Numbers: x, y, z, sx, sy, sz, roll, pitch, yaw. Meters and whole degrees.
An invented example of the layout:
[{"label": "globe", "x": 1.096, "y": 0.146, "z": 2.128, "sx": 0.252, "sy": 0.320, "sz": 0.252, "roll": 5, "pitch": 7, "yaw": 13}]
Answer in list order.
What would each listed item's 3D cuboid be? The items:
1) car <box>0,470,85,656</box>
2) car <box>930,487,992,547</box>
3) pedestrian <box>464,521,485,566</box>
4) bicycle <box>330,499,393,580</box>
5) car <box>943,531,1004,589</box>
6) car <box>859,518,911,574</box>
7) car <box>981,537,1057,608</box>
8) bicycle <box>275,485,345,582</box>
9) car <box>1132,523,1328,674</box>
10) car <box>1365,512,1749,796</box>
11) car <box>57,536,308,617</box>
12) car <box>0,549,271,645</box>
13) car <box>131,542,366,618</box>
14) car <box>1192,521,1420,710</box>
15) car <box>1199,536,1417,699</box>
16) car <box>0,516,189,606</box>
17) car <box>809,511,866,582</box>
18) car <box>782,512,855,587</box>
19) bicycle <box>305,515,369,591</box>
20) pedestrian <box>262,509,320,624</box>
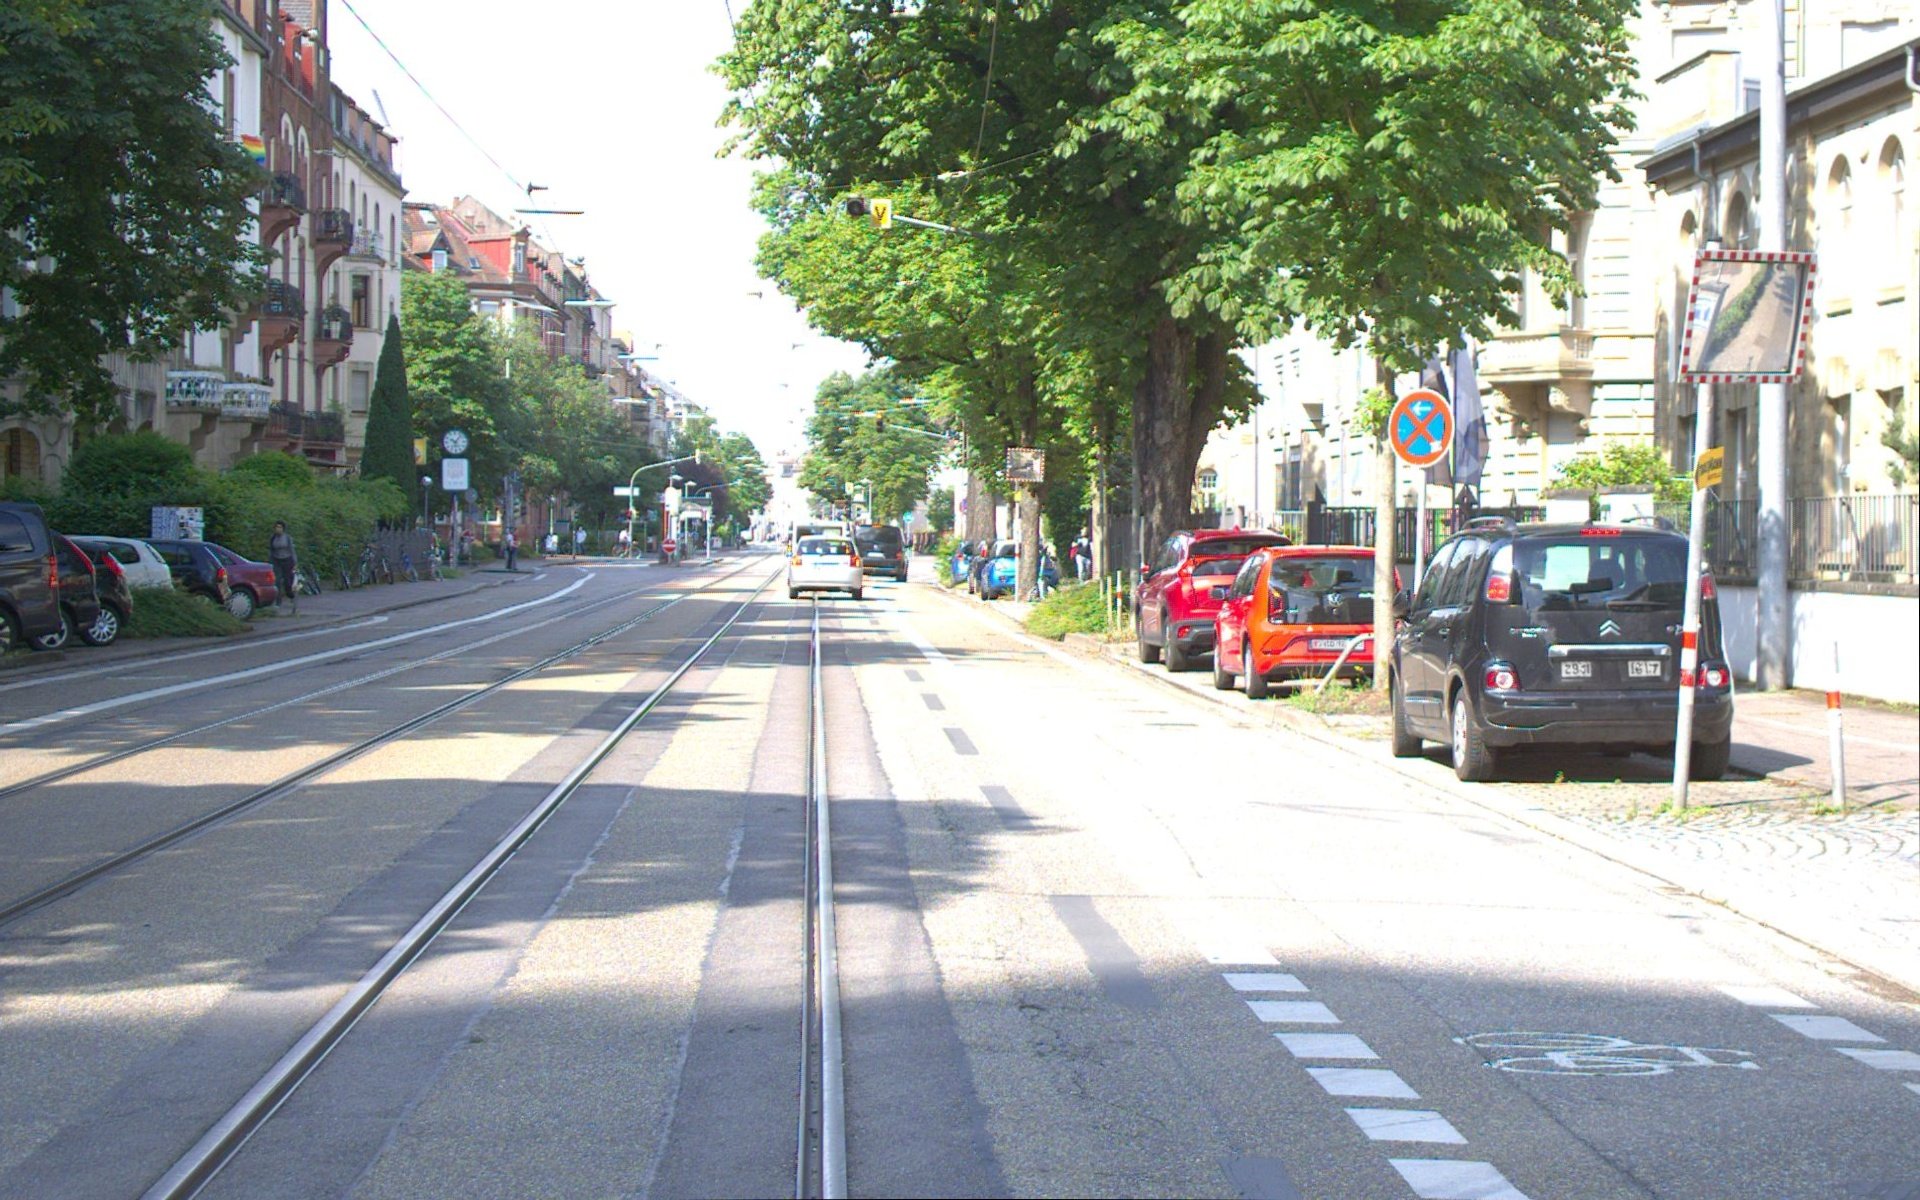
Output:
[{"label": "car", "x": -12.202, "y": -0.514, "z": 38.516, "sx": 1.882, "sy": 2.074, "sz": 4.194, "roll": 4, "pitch": 0, "yaw": 42}, {"label": "car", "x": 0.016, "y": -2.358, "z": 98.227, "sx": 1.621, "sy": 1.678, "sz": 3.565, "roll": 0, "pitch": 1, "yaw": -2}, {"label": "pedestrian", "x": -21.890, "y": -2.547, "z": 155.080, "sx": 0.884, "sy": 2.007, "sz": 0.788, "roll": 0, "pitch": 1, "yaw": -11}, {"label": "bicycle", "x": -14.379, "y": -1.452, "z": 82.718, "sx": 0.938, "sy": 1.912, "sz": 2.498, "roll": 0, "pitch": 1, "yaw": 3}, {"label": "car", "x": 0.386, "y": -1.183, "z": 101.643, "sx": 1.621, "sy": 1.678, "sz": 3.565, "roll": 0, "pitch": 1, "yaw": -2}, {"label": "car", "x": -2.519, "y": -1.792, "z": 114.817, "sx": 1.621, "sy": 1.842, "sz": 3.565, "roll": 0, "pitch": 1, "yaw": -2}, {"label": "car", "x": 1.405, "y": -0.673, "z": 83.494, "sx": 1.621, "sy": 1.678, "sz": 3.565, "roll": 0, "pitch": 1, "yaw": -2}, {"label": "bicycle", "x": -14.236, "y": -1.450, "z": 75.355, "sx": 0.938, "sy": 2.071, "sz": 2.498, "roll": 0, "pitch": 1, "yaw": 3}, {"label": "car", "x": 3.170, "y": -0.044, "z": 41.121, "sx": 1.960, "sy": 1.700, "sz": 4.000, "roll": 0, "pitch": 1, "yaw": -1}, {"label": "car", "x": 3.793, "y": 0.279, "z": 22.400, "sx": 1.674, "sy": 1.606, "sz": 3.585, "roll": -3, "pitch": 2, "yaw": -3}, {"label": "car", "x": -13.026, "y": -0.398, "z": 57.712, "sx": 3.776, "sy": 1.302, "sz": 1.637, "roll": 0, "pitch": 1, "yaw": -41}, {"label": "car", "x": -11.838, "y": -0.060, "z": 48.628, "sx": 3.776, "sy": 1.302, "sz": 1.637, "roll": 0, "pitch": 1, "yaw": -41}, {"label": "car", "x": -12.614, "y": -0.359, "z": 61.054, "sx": 3.776, "sy": 1.302, "sz": 1.637, "roll": 0, "pitch": 1, "yaw": -41}, {"label": "car", "x": 3.369, "y": 0.102, "z": 34.063, "sx": 1.674, "sy": 1.606, "sz": 3.585, "roll": -3, "pitch": 3, "yaw": -2}, {"label": "car", "x": 3.380, "y": 0.138, "z": 33.913, "sx": 1.667, "sy": 1.481, "sz": 3.280, "roll": -2, "pitch": 1, "yaw": -2}, {"label": "car", "x": -13.624, "y": -0.583, "z": 51.404, "sx": 3.776, "sy": 1.302, "sz": 1.637, "roll": 0, "pitch": 1, "yaw": -41}, {"label": "car", "x": -3.569, "y": -1.551, "z": 99.655, "sx": 1.621, "sy": 1.993, "sz": 3.565, "roll": 0, "pitch": 1, "yaw": -3}, {"label": "car", "x": -3.257, "y": -1.162, "z": 79.146, "sx": 1.621, "sy": 1.678, "sz": 3.565, "roll": 0, "pitch": 1, "yaw": -2}, {"label": "bicycle", "x": -14.482, "y": -1.103, "z": 79.923, "sx": 0.938, "sy": 1.740, "sz": 2.284, "roll": 0, "pitch": 1, "yaw": 3}, {"label": "pedestrian", "x": -11.979, "y": -0.602, "z": 61.606, "sx": 0.733, "sy": 2.007, "sz": 0.824, "roll": -4, "pitch": 1, "yaw": 1}]
